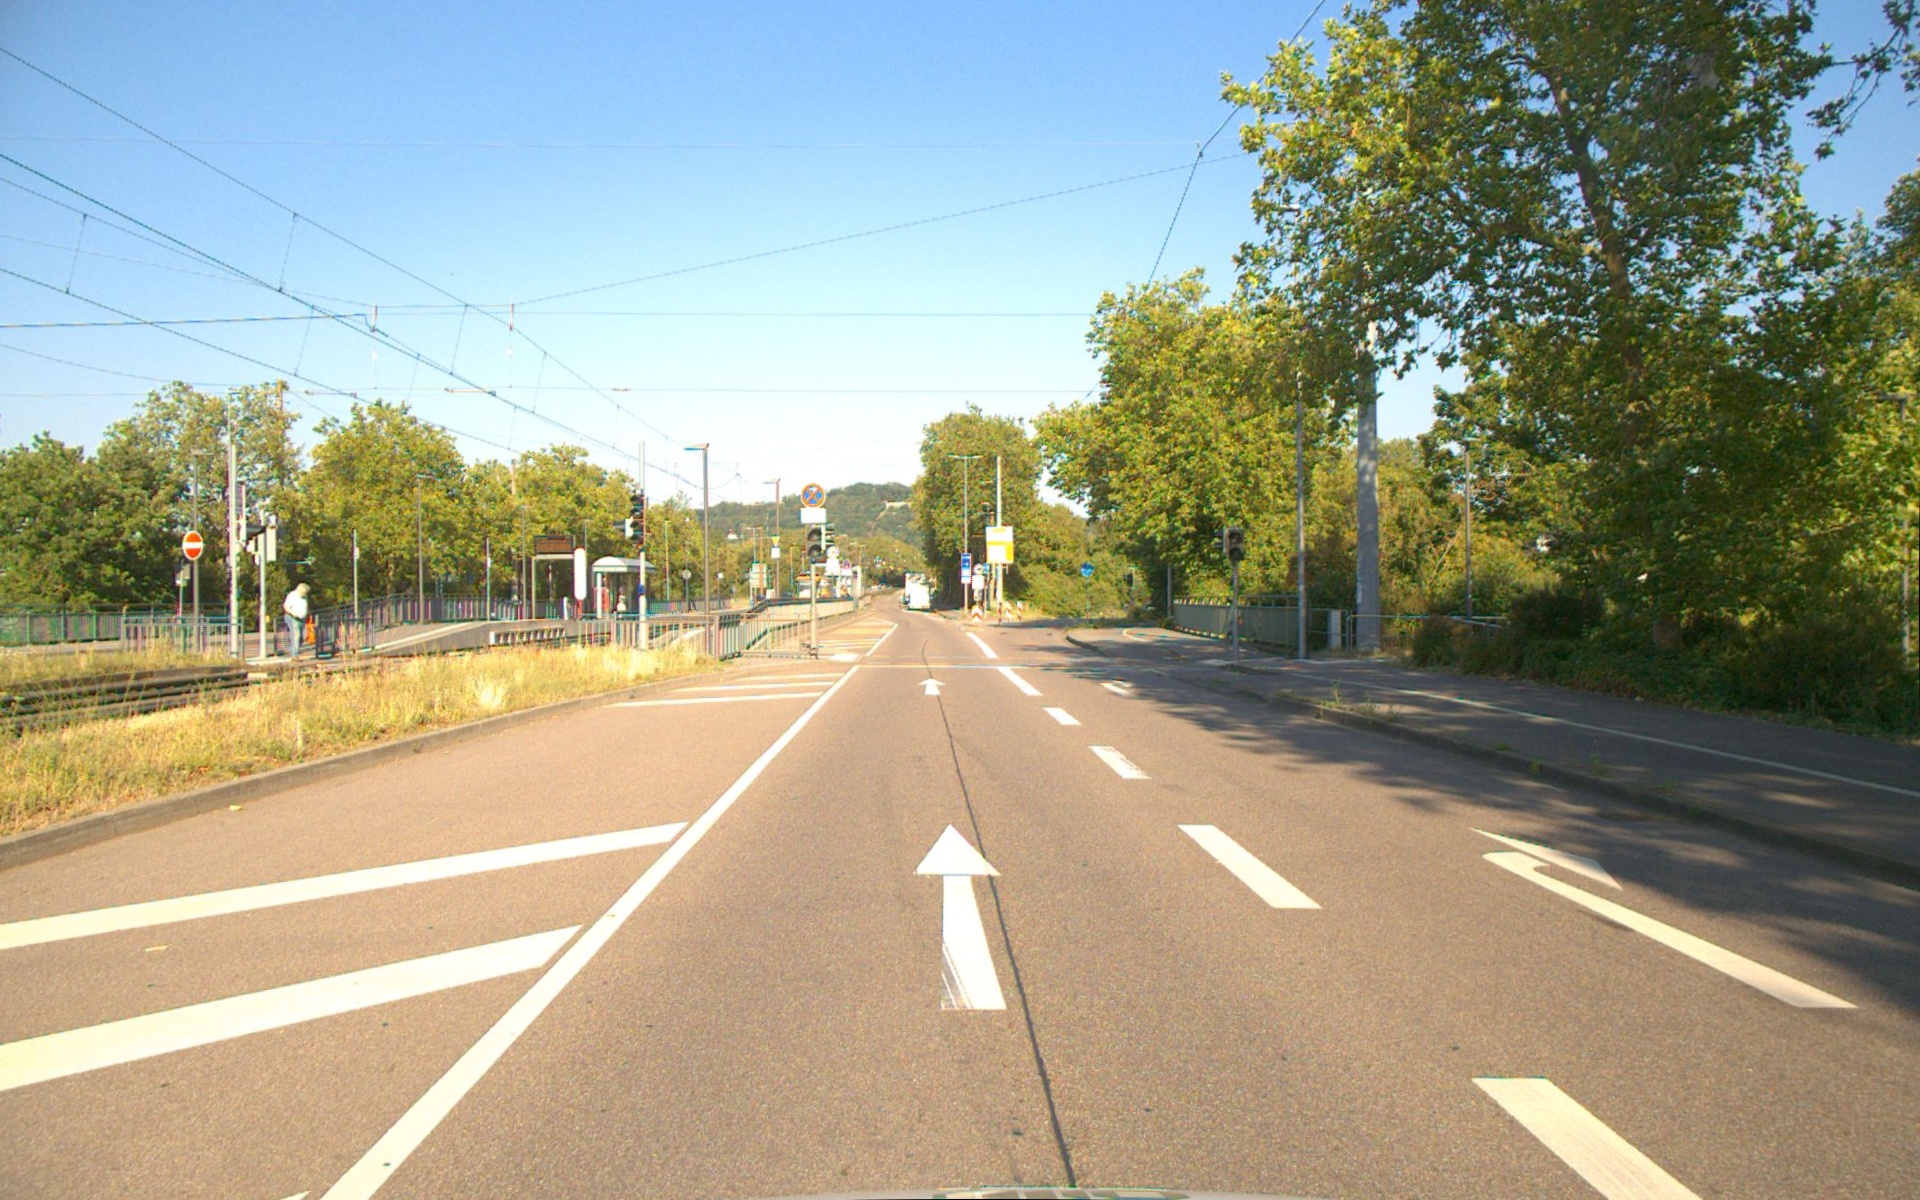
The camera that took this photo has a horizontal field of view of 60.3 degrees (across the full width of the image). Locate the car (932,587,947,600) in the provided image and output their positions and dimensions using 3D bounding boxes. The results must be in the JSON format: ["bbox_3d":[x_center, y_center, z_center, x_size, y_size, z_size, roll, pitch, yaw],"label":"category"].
[{"bbox_3d":[-2.334,-0.790,188.554,1.619,1.462,3.777,0,0,-1],"label":"car"}]

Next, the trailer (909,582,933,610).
[{"bbox_3d":[-3.807,-0.430,162.384,2.205,2.742,5.947,0,0,1],"label":"trailer"}]

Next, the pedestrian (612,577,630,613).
[{"bbox_3d":[-16.946,-0.263,82.637,0.686,1.787,0.586,0,0,34],"label":"pedestrian"}]

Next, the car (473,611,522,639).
[{"bbox_3d":[-25.950,1.388,92.867,1.697,1.471,3.999,-1,0,-1],"label":"car"}]

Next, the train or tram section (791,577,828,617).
[{"bbox_3d":[-15.820,-0.322,175.004,2.770,4.076,15.871,1,0,-1],"label":"train or tram section"}]

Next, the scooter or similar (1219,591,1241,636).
[{"bbox_3d":[7.836,0.384,48.061,0.418,1.297,1.083,-1,0,-1],"label":"scooter or similar"}]

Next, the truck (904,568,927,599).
[{"bbox_3d":[-5.724,-2.096,210.018,2.687,3.849,10.085,1,0,-2],"label":"truck"}]

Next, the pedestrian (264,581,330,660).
[{"bbox_3d":[-14.303,0.439,35.677,0.871,1.673,0.986,-1,0,25],"label":"pedestrian"}]
